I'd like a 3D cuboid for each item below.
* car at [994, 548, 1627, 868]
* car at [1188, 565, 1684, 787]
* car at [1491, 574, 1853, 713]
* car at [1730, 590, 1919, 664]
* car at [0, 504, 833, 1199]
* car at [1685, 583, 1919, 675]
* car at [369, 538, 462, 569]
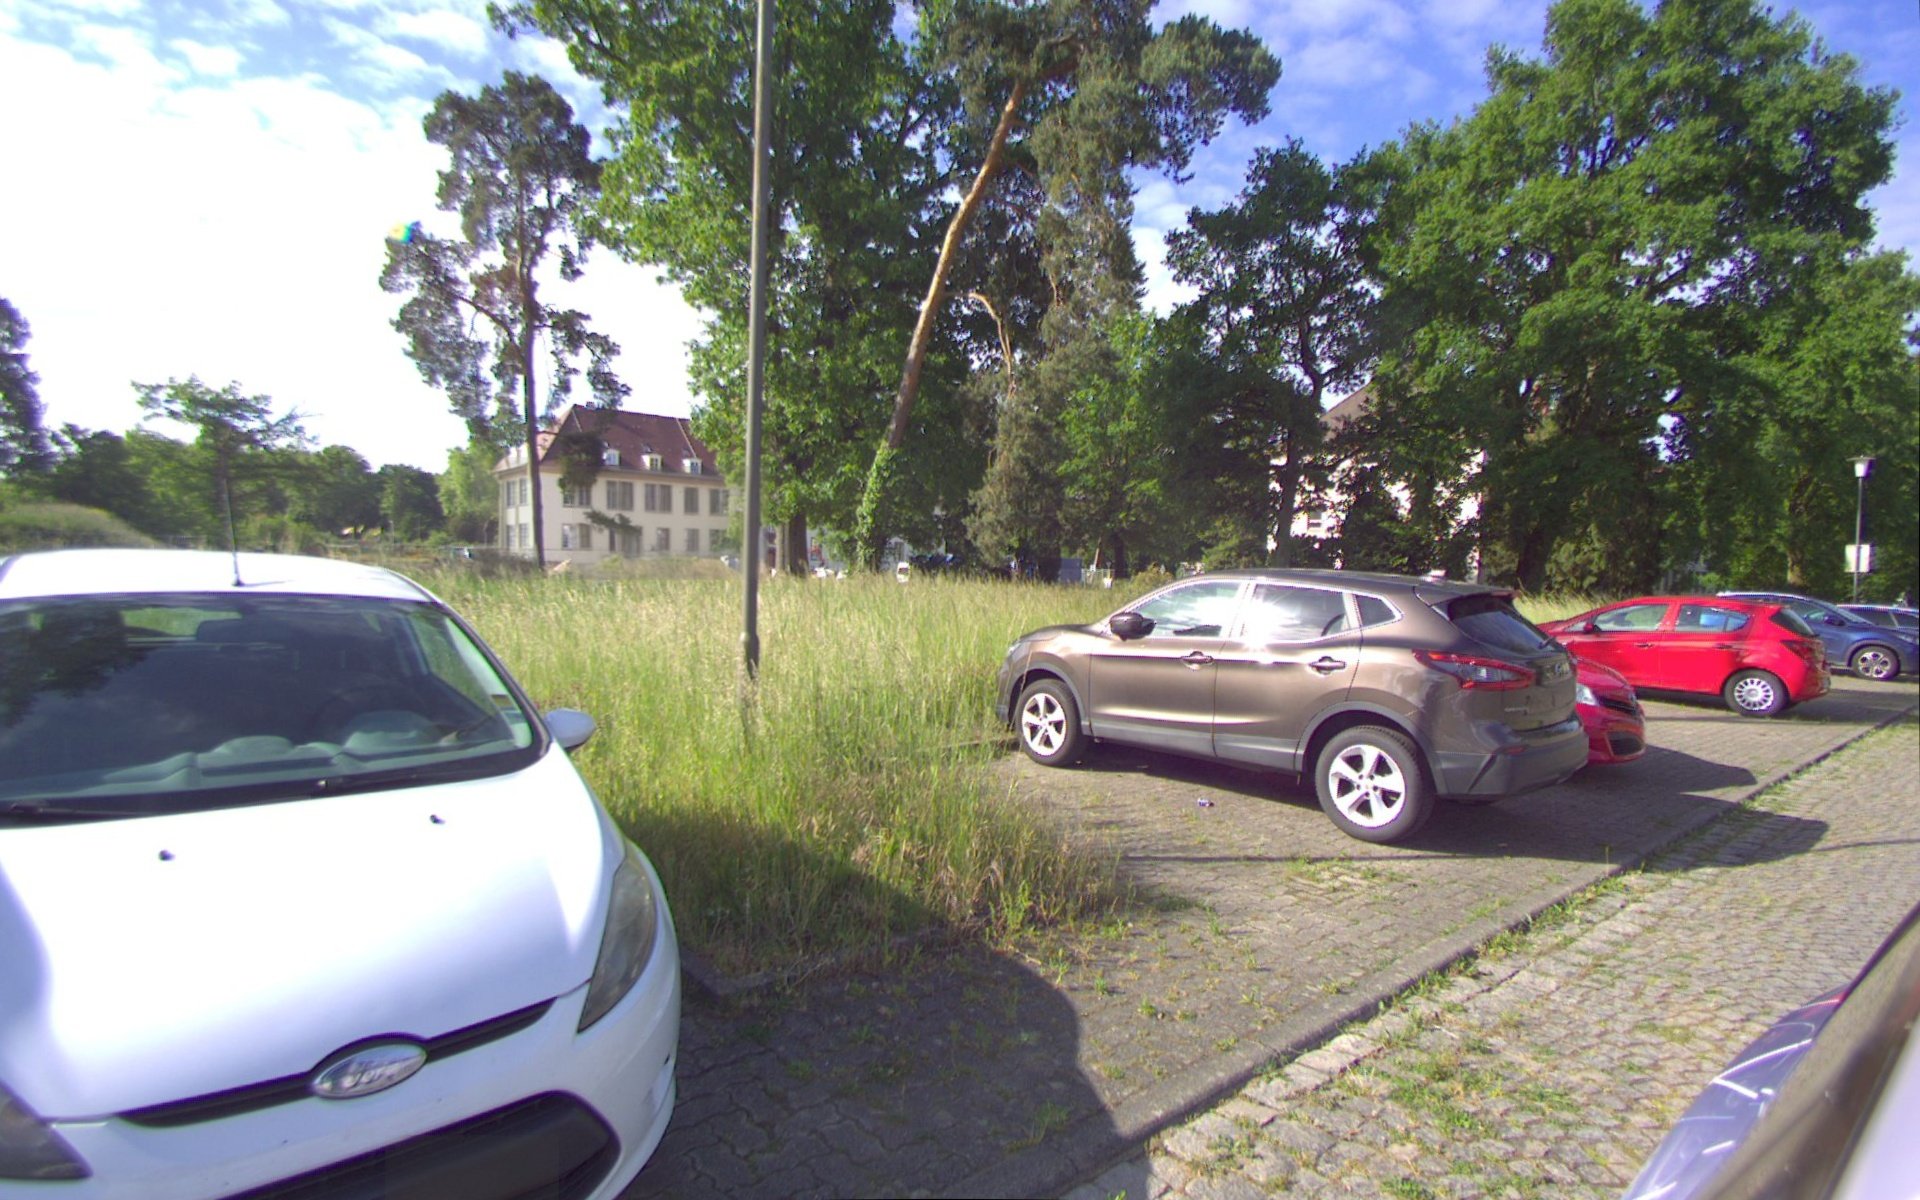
[{"bbox_3d":[2.247,0.488,7.298,1.741,1.641,3.943,1,2,-42],"label":"car"},{"bbox_3d":[4.149,0.506,9.305,1.616,1.549,3.771,1,2,-40],"label":"car"},{"bbox_3d":[9.811,0.490,14.182,1.617,1.496,3.835,1,3,-42],"label":"car"},{"bbox_3d":[21.049,0.618,23.714,1.682,1.425,4.464,1,3,-38],"label":"car"},{"bbox_3d":[-2.156,0.523,3.098,1.617,1.506,3.725,0,3,-43],"label":"car"},{"bbox_3d":[17.564,0.533,20.669,1.721,1.610,4.185,1,2,-41],"label":"car"},{"bbox_3d":[-40.699,-3.465,75.804,5.888,2.198,2.381,0,2,-21],"label":"car"}]
